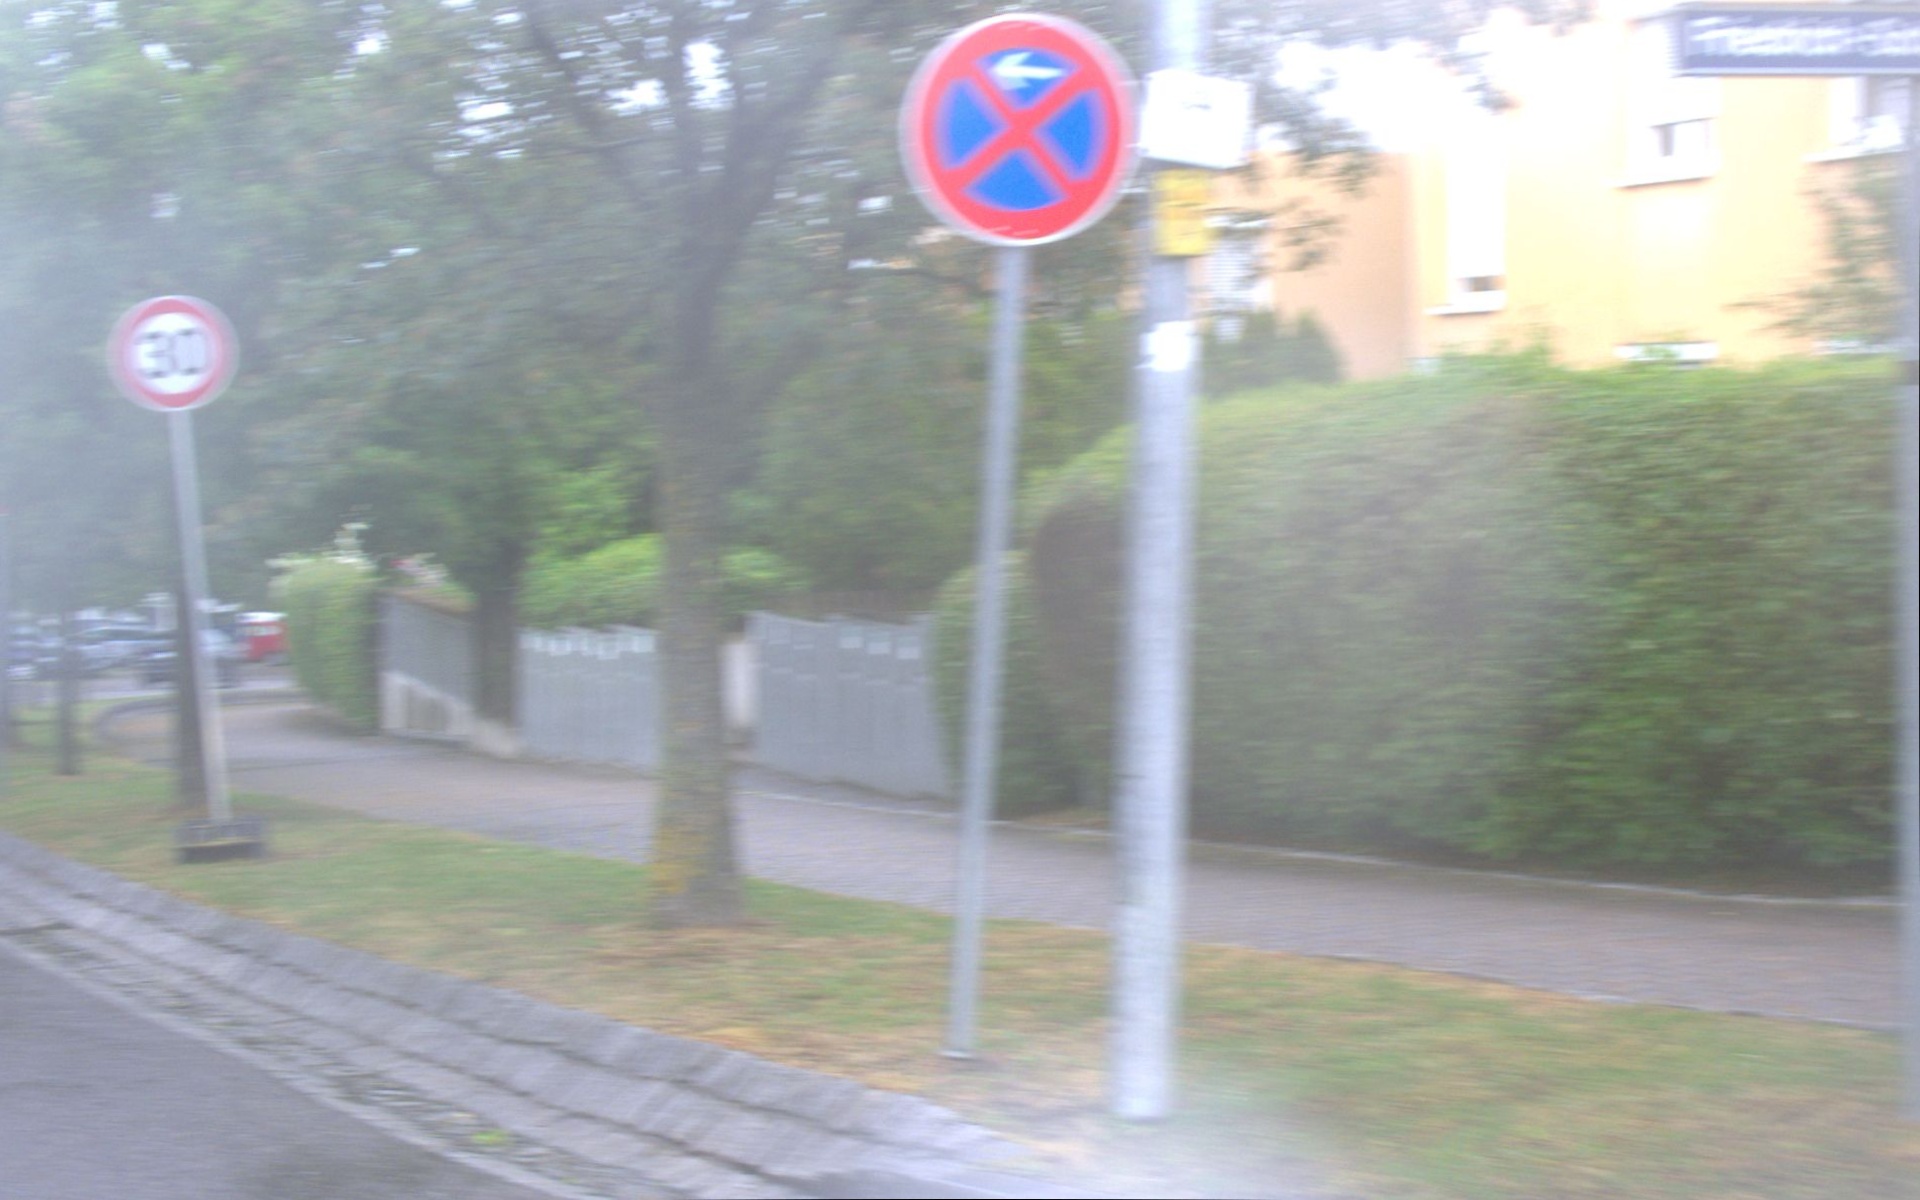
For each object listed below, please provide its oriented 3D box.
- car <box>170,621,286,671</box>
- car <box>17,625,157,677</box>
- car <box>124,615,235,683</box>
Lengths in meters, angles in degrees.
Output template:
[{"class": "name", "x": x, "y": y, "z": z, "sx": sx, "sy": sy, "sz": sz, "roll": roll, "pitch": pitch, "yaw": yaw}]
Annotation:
[{"class": "car", "x": -25.201, "y": 1.590, "z": 118.404, "sx": 3.561, "sy": 1.600, "sz": 1.692, "roll": -2, "pitch": 0, "yaw": 2}, {"class": "car", "x": -26.684, "y": 1.566, "z": 105.164, "sx": 3.869, "sy": 1.542, "sz": 1.773, "roll": 0, "pitch": 0, "yaw": -2}, {"class": "car", "x": -19.351, "y": 1.201, "z": 85.366, "sx": 1.686, "sy": 1.546, "sz": 3.697, "roll": 1, "pitch": 1, "yaw": 4}]
